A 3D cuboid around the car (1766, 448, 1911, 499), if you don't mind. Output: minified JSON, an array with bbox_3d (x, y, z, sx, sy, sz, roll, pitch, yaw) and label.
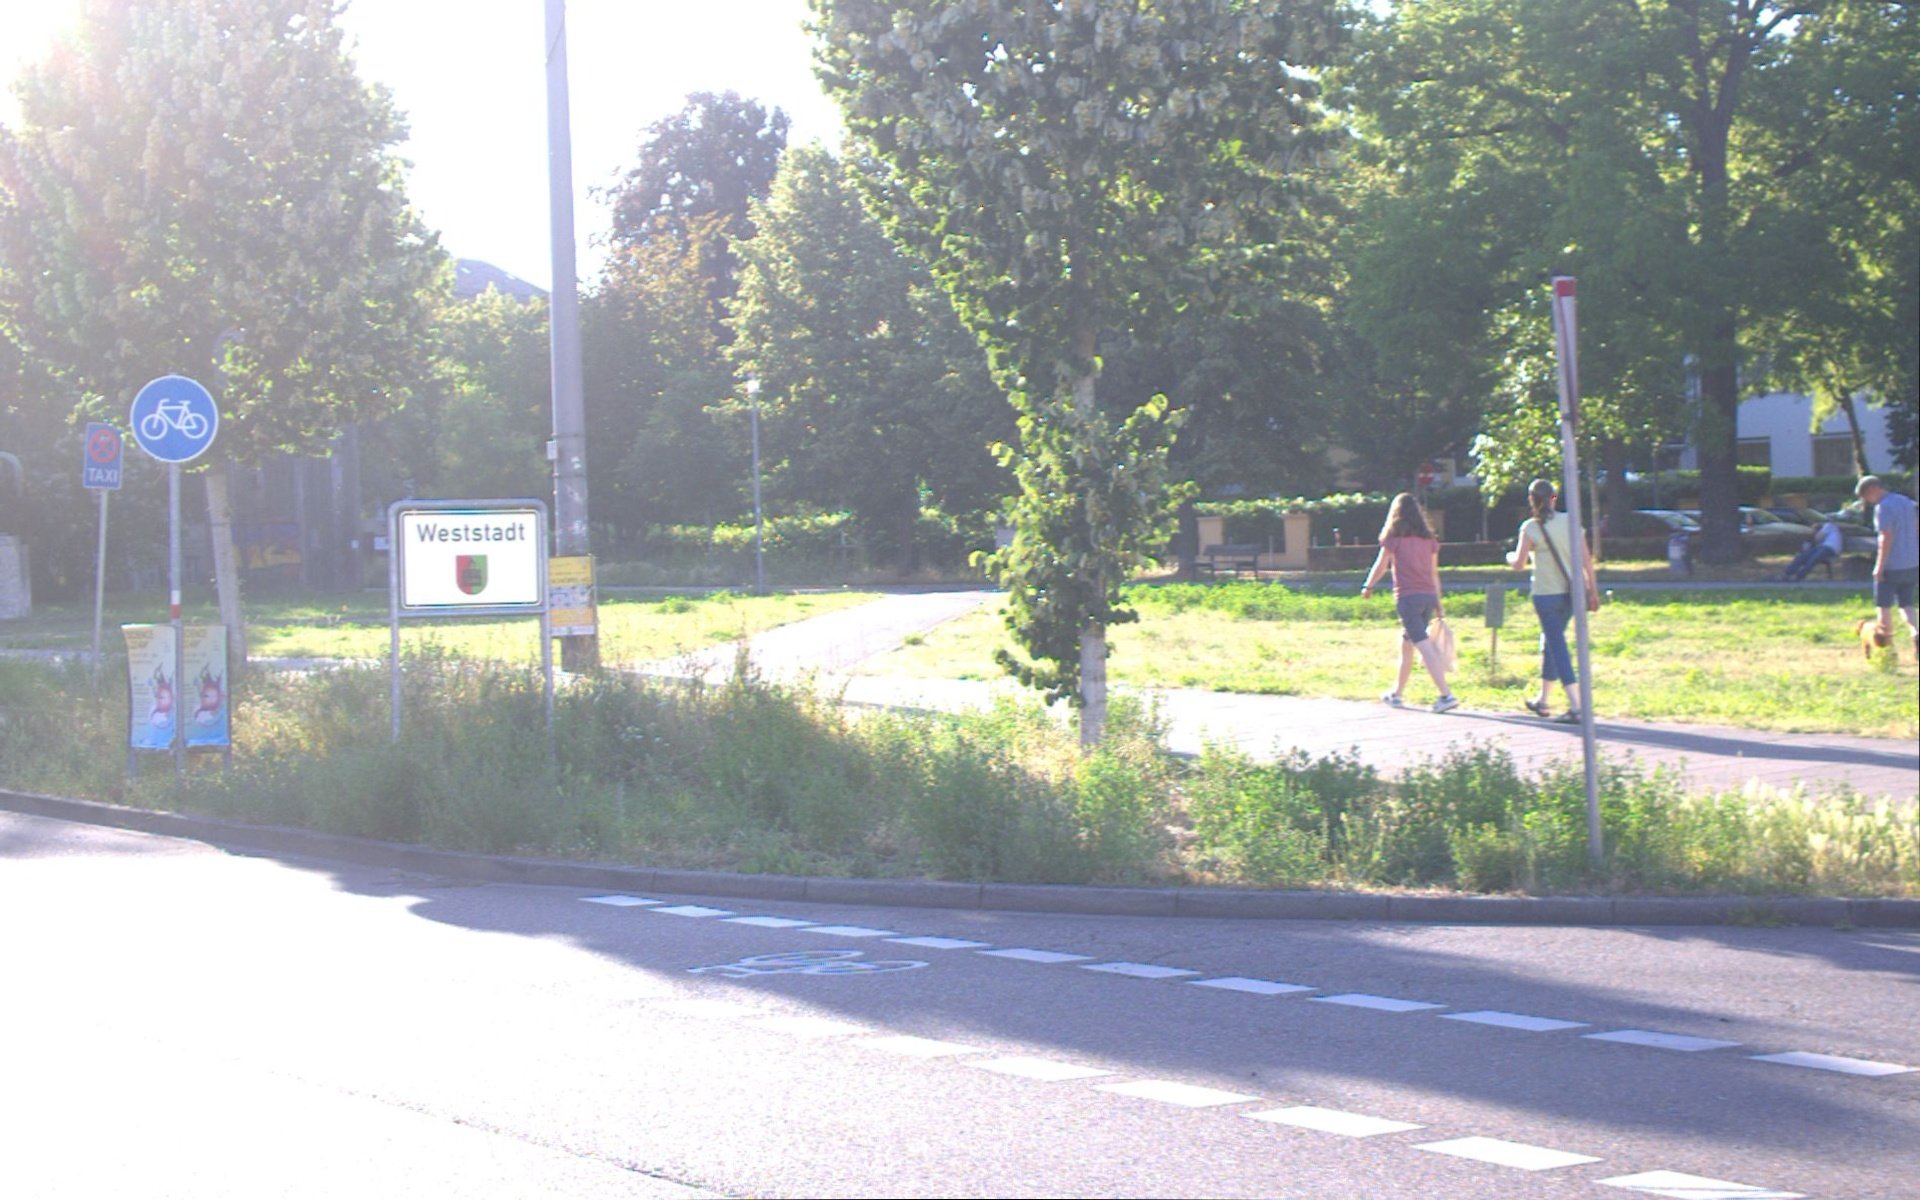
[{"bbox_3d":[30.383,-4.379,118.948,1.995,1.566,4.462,-4,2,-43],"label":"car"}]

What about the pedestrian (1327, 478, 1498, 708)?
[{"bbox_3d":[3.438,-0.070,26.168,0.842,1.690,1.017,-3,3,-24],"label":"pedestrian"}]

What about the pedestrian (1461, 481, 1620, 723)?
[{"bbox_3d":[4.181,-0.003,24.782,0.708,1.690,0.896,-3,3,-25],"label":"pedestrian"}]

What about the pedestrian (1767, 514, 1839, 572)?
[{"bbox_3d":[14.547,-0.982,59.298,0.803,0.950,1.172,0,3,37],"label":"pedestrian"}]

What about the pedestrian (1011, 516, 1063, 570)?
[{"bbox_3d":[1.769,-1.307,78.974,0.810,1.183,0.845,-3,1,-33],"label":"pedestrian"}]

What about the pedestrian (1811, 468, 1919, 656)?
[{"bbox_3d":[8.540,-0.368,32.045,0.841,1.690,1.017,-2,2,-7],"label":"pedestrian"}]
